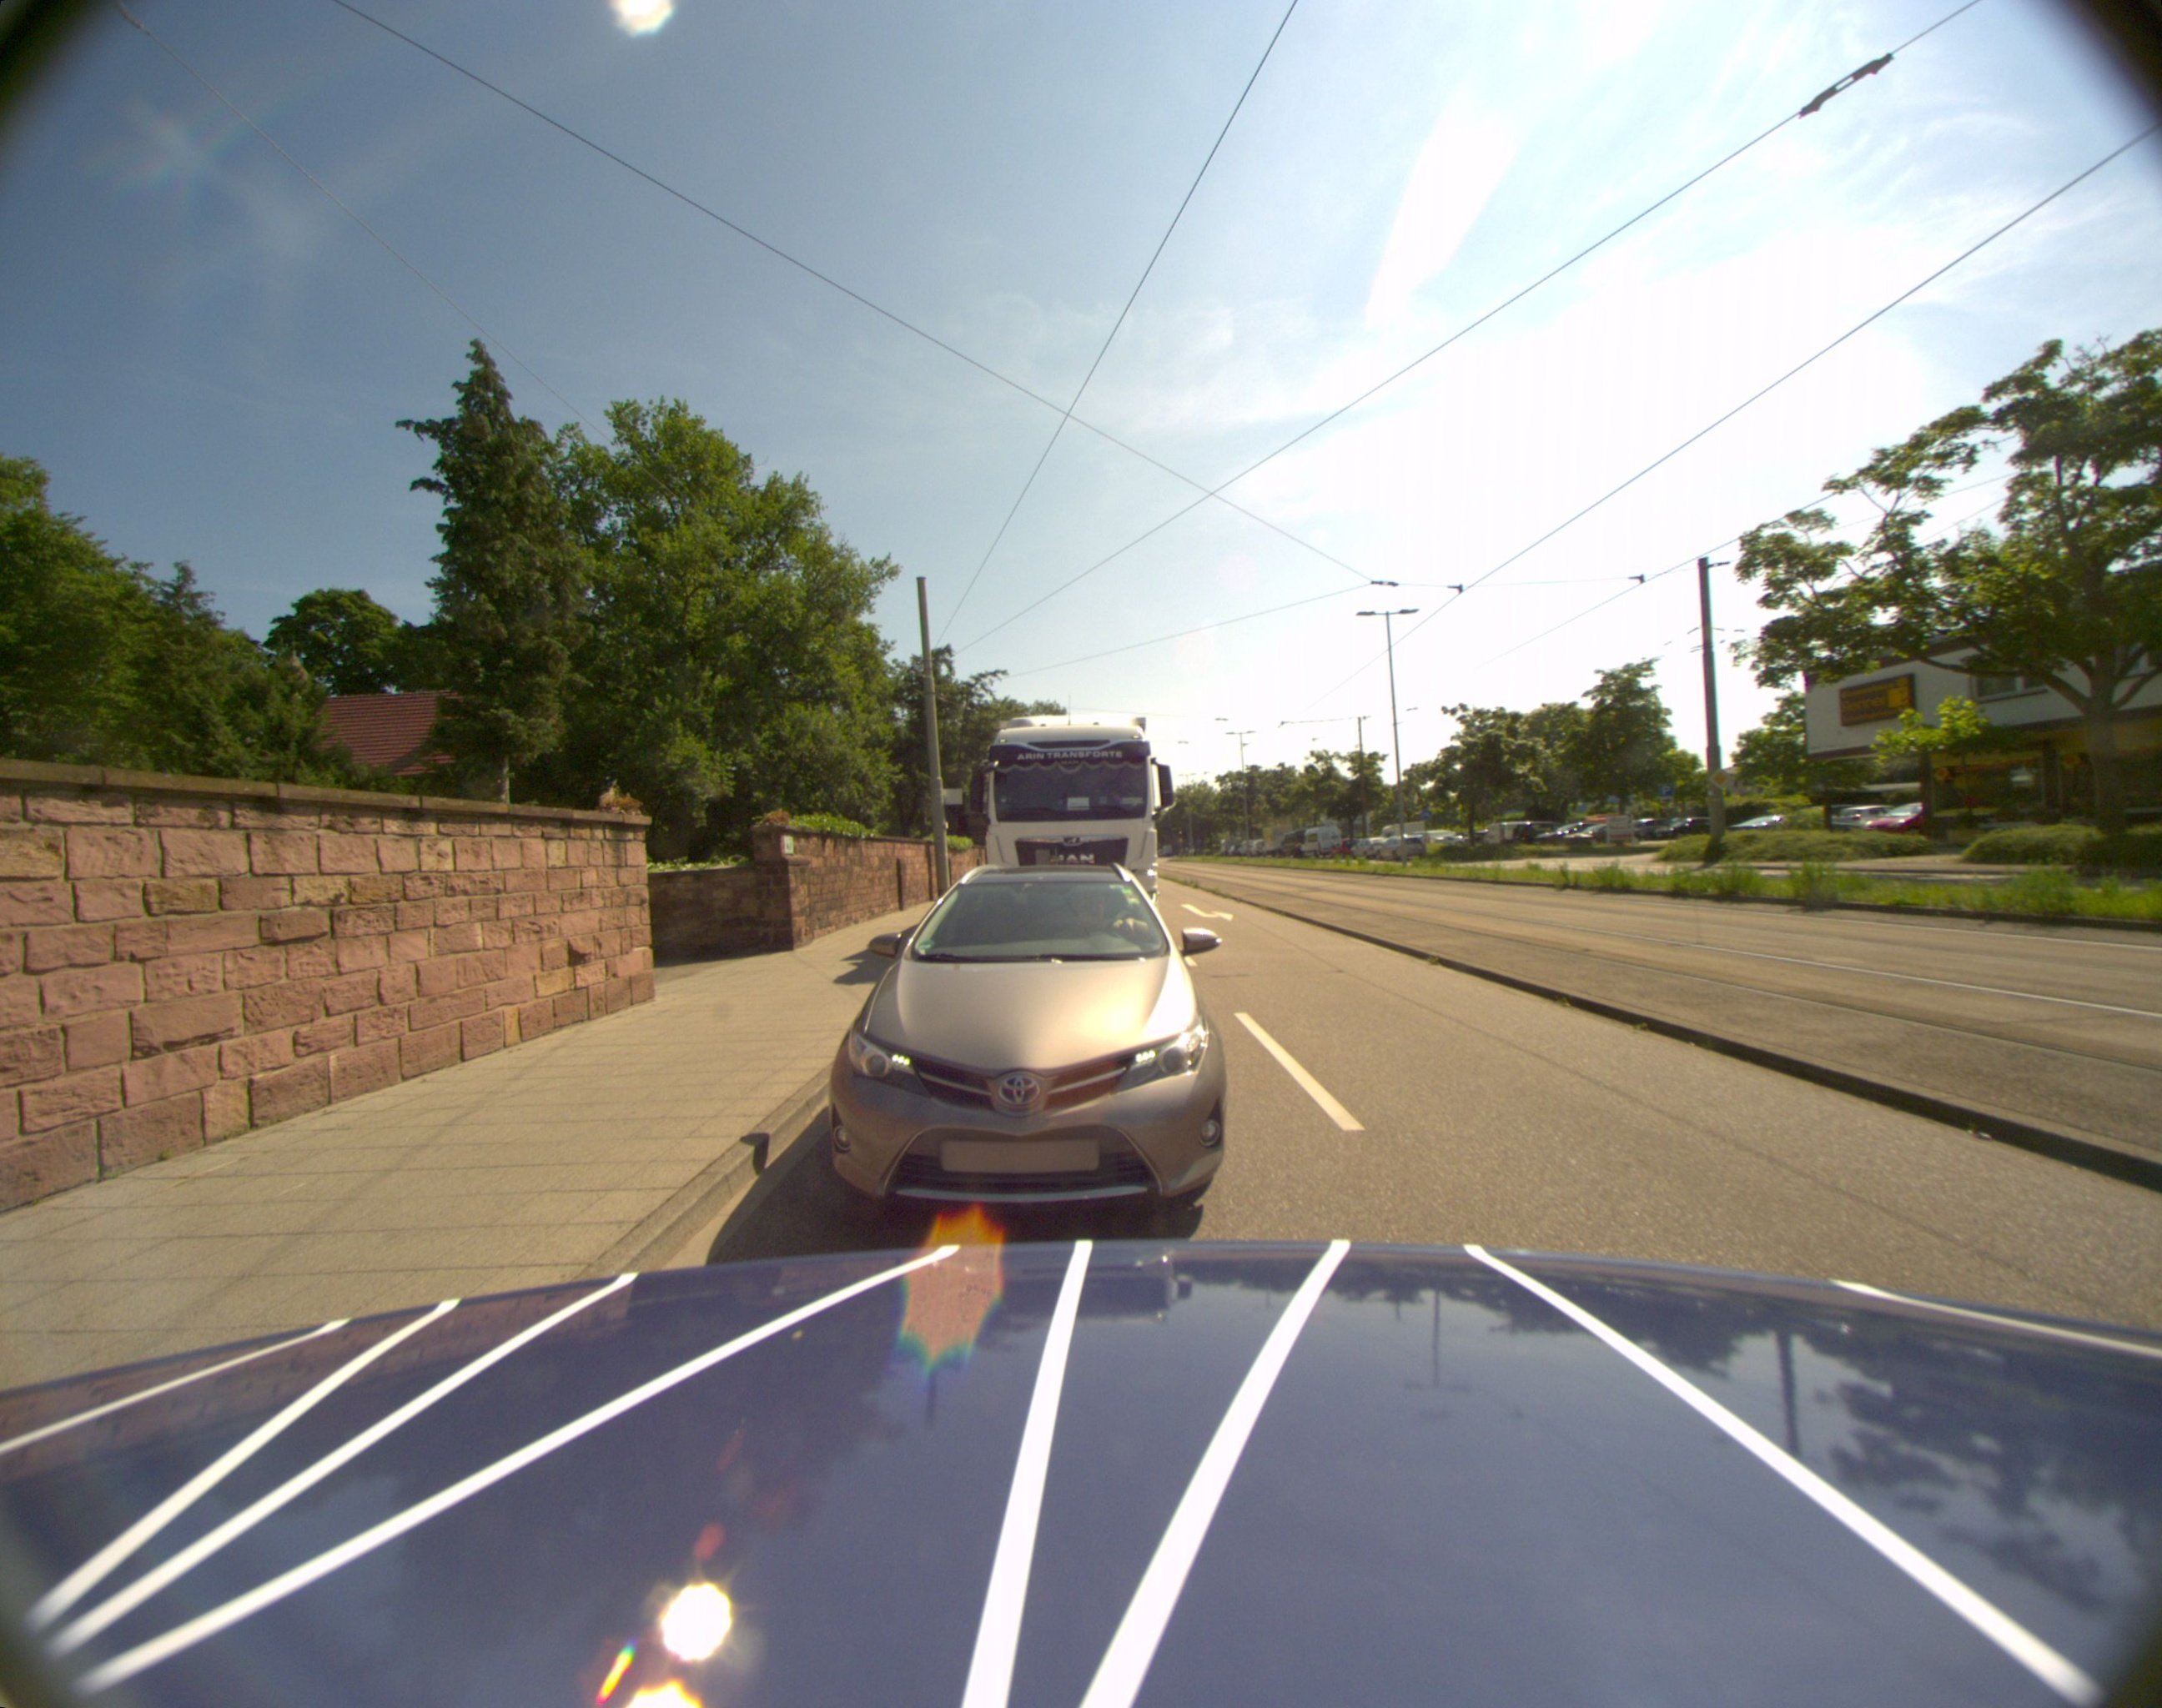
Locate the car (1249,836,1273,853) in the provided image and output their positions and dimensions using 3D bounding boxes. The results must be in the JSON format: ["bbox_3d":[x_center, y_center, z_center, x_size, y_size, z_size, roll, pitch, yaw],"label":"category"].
[{"bbox_3d":[20.656,-1.051,87.363,1.502,1.793,4.633,-6,0,1],"label":"car"}]

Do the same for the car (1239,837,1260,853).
[{"bbox_3d":[20.866,-1.135,94.220,1.502,1.835,4.059,-6,0,0],"label":"car"}]

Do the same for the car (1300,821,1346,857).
[{"bbox_3d":[20.283,-1.227,63.991,2.062,2.638,5.203,-6,0,1],"label":"car"}]

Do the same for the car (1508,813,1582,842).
[{"bbox_3d":[30.576,-1.717,50.125,3.810,1.625,1.676,-3,1,2],"label":"car"}]

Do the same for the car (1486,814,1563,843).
[{"bbox_3d":[30.693,-1.772,52.669,4.117,1.728,1.990,-3,1,-2],"label":"car"}]

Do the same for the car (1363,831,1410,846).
[{"bbox_3d":[32.317,-1.595,80.397,4.253,1.327,1.676,-3,0,1],"label":"car"}]

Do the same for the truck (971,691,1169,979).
[{"bbox_3d":[-0.059,-0.313,15.133,2.628,3.906,9.285,-2,1,1],"label":"truck"}]

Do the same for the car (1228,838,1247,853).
[{"bbox_3d":[20.624,-1.089,100.073,1.502,1.775,3.687,-6,0,0],"label":"car"}]

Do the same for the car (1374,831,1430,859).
[{"bbox_3d":[20.287,-0.536,48.171,1.675,1.524,4.256,-6,0,1],"label":"car"}]

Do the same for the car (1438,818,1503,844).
[{"bbox_3d":[31.233,-1.836,60.978,4.117,1.728,1.990,-3,1,-2],"label":"car"}]

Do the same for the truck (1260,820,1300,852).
[{"bbox_3d":[20.584,-1.802,78.822,2.508,2.917,5.903,-6,0,2],"label":"truck"}]

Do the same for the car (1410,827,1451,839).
[{"bbox_3d":[43.738,-2.625,95.109,4.253,1.327,1.676,-3,0,1],"label":"car"}]

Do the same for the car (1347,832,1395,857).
[{"bbox_3d":[20.445,-0.628,53.658,1.675,1.524,4.256,-6,0,1],"label":"car"}]

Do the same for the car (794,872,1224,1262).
[{"bbox_3d":[-0.264,0.892,4.997,1.654,1.374,4.000,-2,0,1],"label":"car"}]

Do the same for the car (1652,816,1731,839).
[{"bbox_3d":[44.061,-1.895,54.886,4.252,1.327,1.676,-3,0,2],"label":"car"}]

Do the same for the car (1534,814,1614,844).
[{"bbox_3d":[30.517,-1.525,47.117,3.810,1.625,1.676,-3,1,2],"label":"car"}]

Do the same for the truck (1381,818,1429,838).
[{"bbox_3d":[44.805,-3.547,105.216,5.652,2.367,1.990,-3,1,-2],"label":"truck"}]

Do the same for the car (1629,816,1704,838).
[{"bbox_3d":[44.160,-2.028,57.379,4.252,1.327,1.676,-3,0,2],"label":"car"}]

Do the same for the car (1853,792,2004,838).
[{"bbox_3d":[35.260,-1.584,31.682,4.252,1.595,1.676,-3,1,2],"label":"car"}]

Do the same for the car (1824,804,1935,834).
[{"bbox_3d":[44.317,-1.920,42.241,4.252,1.327,1.676,-3,0,2],"label":"car"}]

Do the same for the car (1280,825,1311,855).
[{"bbox_3d":[19.861,-1.269,70.398,1.502,2.609,4.007,-6,0,1],"label":"car"}]

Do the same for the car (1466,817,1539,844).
[{"bbox_3d":[30.533,-1.685,55.139,4.117,1.728,1.990,-3,1,-2],"label":"car"}]

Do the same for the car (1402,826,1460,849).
[{"bbox_3d":[31.169,-1.402,67.880,2.594,1.800,5.741,-3,0,2],"label":"car"}]

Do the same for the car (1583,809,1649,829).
[{"bbox_3d":[44.007,-2.849,62.514,4.254,1.327,1.676,-3,0,-1],"label":"car"}]

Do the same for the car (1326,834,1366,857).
[{"bbox_3d":[20.475,-0.670,58.756,1.675,1.524,3.793,-6,0,1],"label":"car"}]
